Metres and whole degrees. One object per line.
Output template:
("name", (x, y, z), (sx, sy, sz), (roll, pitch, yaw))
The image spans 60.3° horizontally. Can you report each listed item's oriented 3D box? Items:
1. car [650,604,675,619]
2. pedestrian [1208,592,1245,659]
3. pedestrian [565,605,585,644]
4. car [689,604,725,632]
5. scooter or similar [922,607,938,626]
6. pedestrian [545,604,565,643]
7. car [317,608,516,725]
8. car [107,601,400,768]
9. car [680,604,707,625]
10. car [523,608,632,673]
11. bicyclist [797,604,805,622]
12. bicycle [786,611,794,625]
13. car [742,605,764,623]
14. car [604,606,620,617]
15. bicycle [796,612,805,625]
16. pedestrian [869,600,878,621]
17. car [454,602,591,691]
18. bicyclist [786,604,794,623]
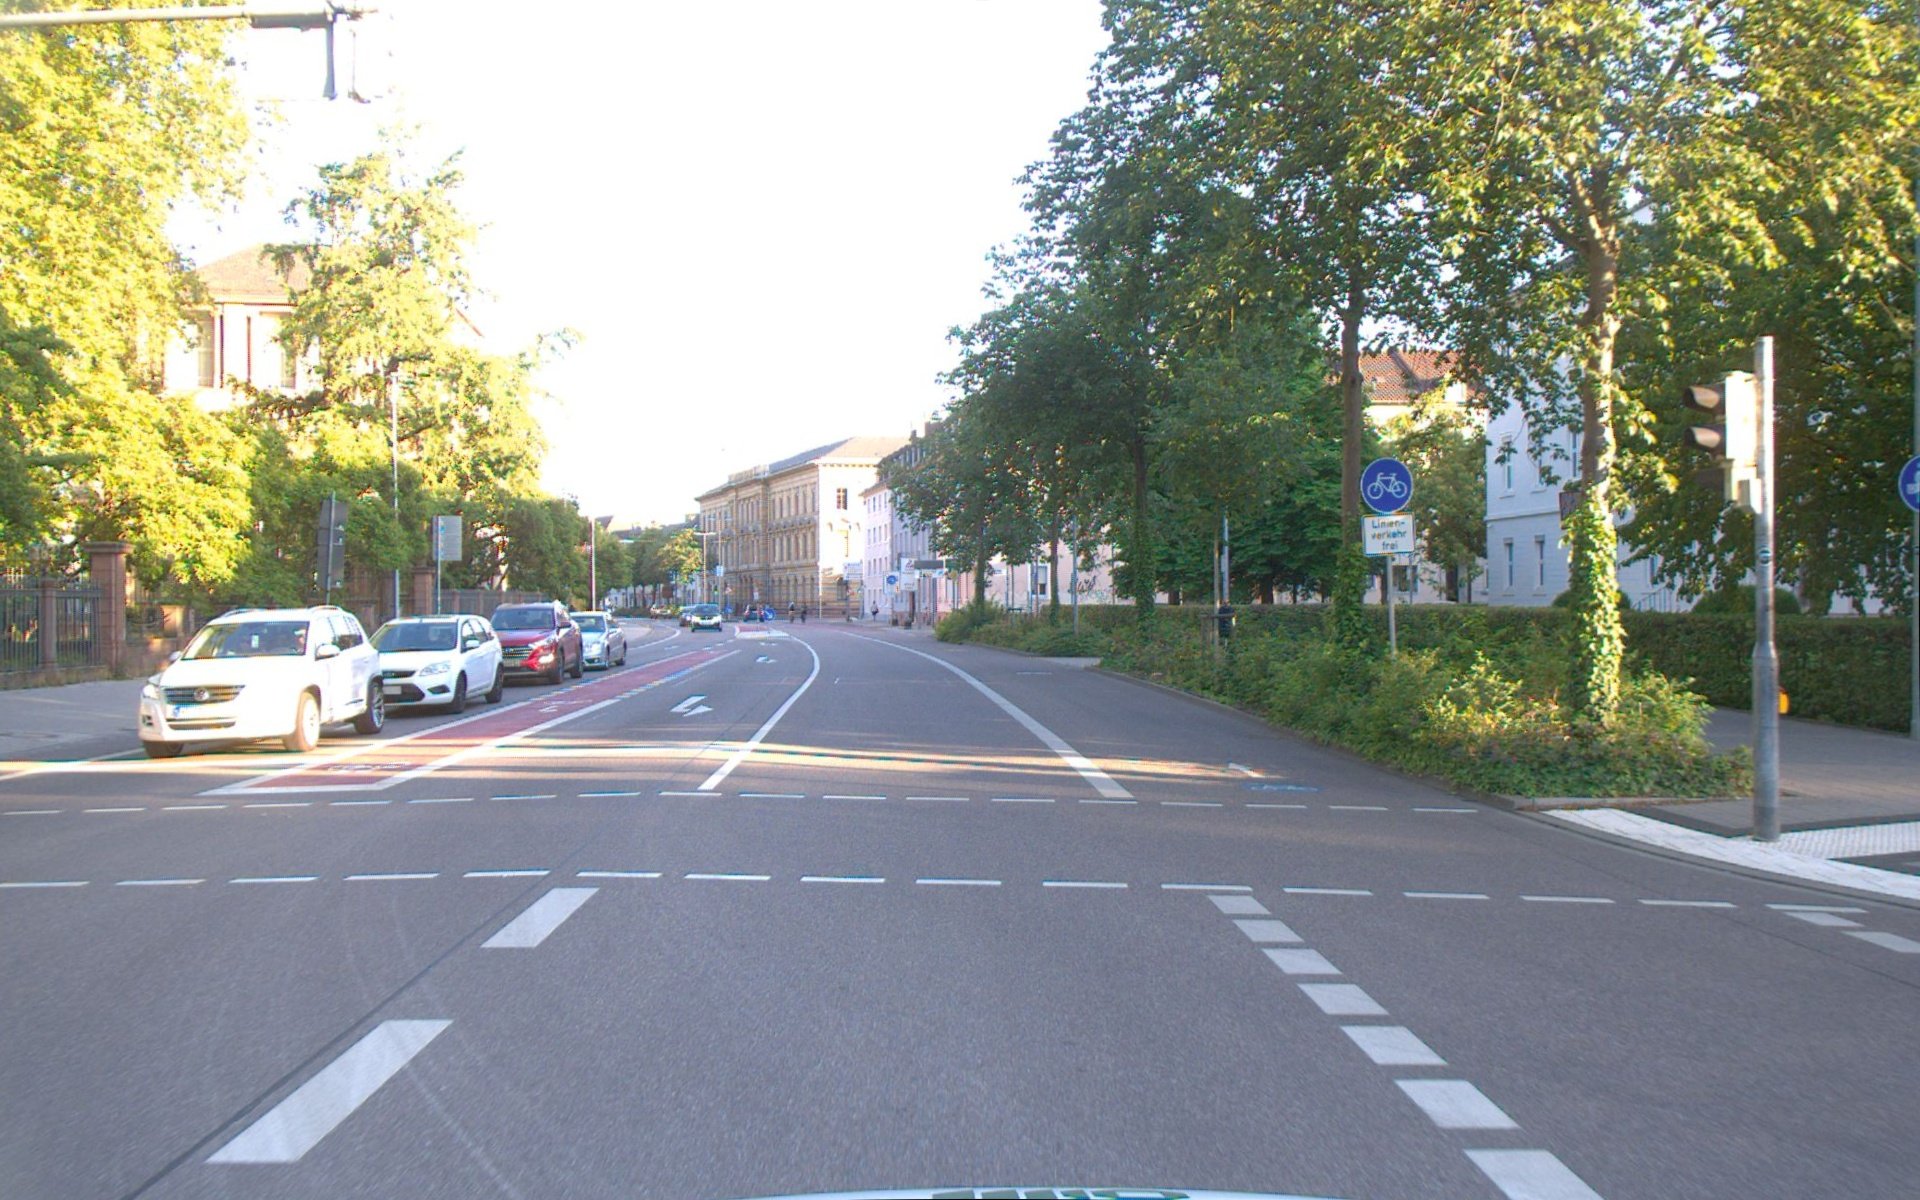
("car", (-32.542, 1.212, 180.791), (1.965, 1.613, 3.975), (0, 0, -20))
("pedestrian", (7.170, 0.677, 44.507), (0.756, 1.769, 0.805), (0, 0, -9))
("pedestrian", (-16.207, 1.022, 69.659), (0.667, 1.651, 0.688), (-1, 0, 0))
("car", (-14.810, 1.034, 96.587), (1.816, 1.553, 3.988), (-2, 0, -12))
("scooter or similar", (-2.085, 1.145, 115.188), (0.619, 1.360, 2.392), (0, 0, -13))
("pedestrian", (-17.103, 0.981, 69.793), (0.667, 1.651, 0.688), (-1, 0, 0))
("car", (-8.588, 0.979, 26.587), (1.878, 1.611, 4.670), (-2, 0, -4))
("car", (-8.432, 0.920, 20.218), (1.878, 1.725, 4.423), (-2, 0, -4))
("car", (-20.154, 1.090, 125.022), (1.803, 1.464, 3.989), (-2, 0, -11))
("car", (-9.566, 0.983, 41.700), (1.878, 1.442, 4.766), (-2, 0, -4))
("bicyclist", (-12.953, 1.053, 134.733), (0.639, 1.501, 0.940), (2, -1, -4))
("bicycle", (-13.876, 1.465, 134.989), (0.639, 1.033, 2.195), (2, 0, -5))
("car", (-18.126, 1.226, 145.096), (1.832, 1.536, 3.994), (0, -1, -6))
("car", (-50.235, 1.694, 238.794), (1.961, 1.613, 3.983), (0, 0, -16))
("bicycle", (-12.964, 1.503, 134.722), (0.639, 1.033, 2.196), (2, 0, -4))
("pedestrian", (-7.401, 0.889, 140.907), (0.746, 1.786, 0.844), (0, -1, -3))
("car", (-9.094, 0.916, 34.790), (1.878, 1.653, 4.635), (-2, 0, -4))
("bicyclist", (-13.857, 1.113, 134.962), (0.639, 1.471, 0.878), (2, -1, -5))
